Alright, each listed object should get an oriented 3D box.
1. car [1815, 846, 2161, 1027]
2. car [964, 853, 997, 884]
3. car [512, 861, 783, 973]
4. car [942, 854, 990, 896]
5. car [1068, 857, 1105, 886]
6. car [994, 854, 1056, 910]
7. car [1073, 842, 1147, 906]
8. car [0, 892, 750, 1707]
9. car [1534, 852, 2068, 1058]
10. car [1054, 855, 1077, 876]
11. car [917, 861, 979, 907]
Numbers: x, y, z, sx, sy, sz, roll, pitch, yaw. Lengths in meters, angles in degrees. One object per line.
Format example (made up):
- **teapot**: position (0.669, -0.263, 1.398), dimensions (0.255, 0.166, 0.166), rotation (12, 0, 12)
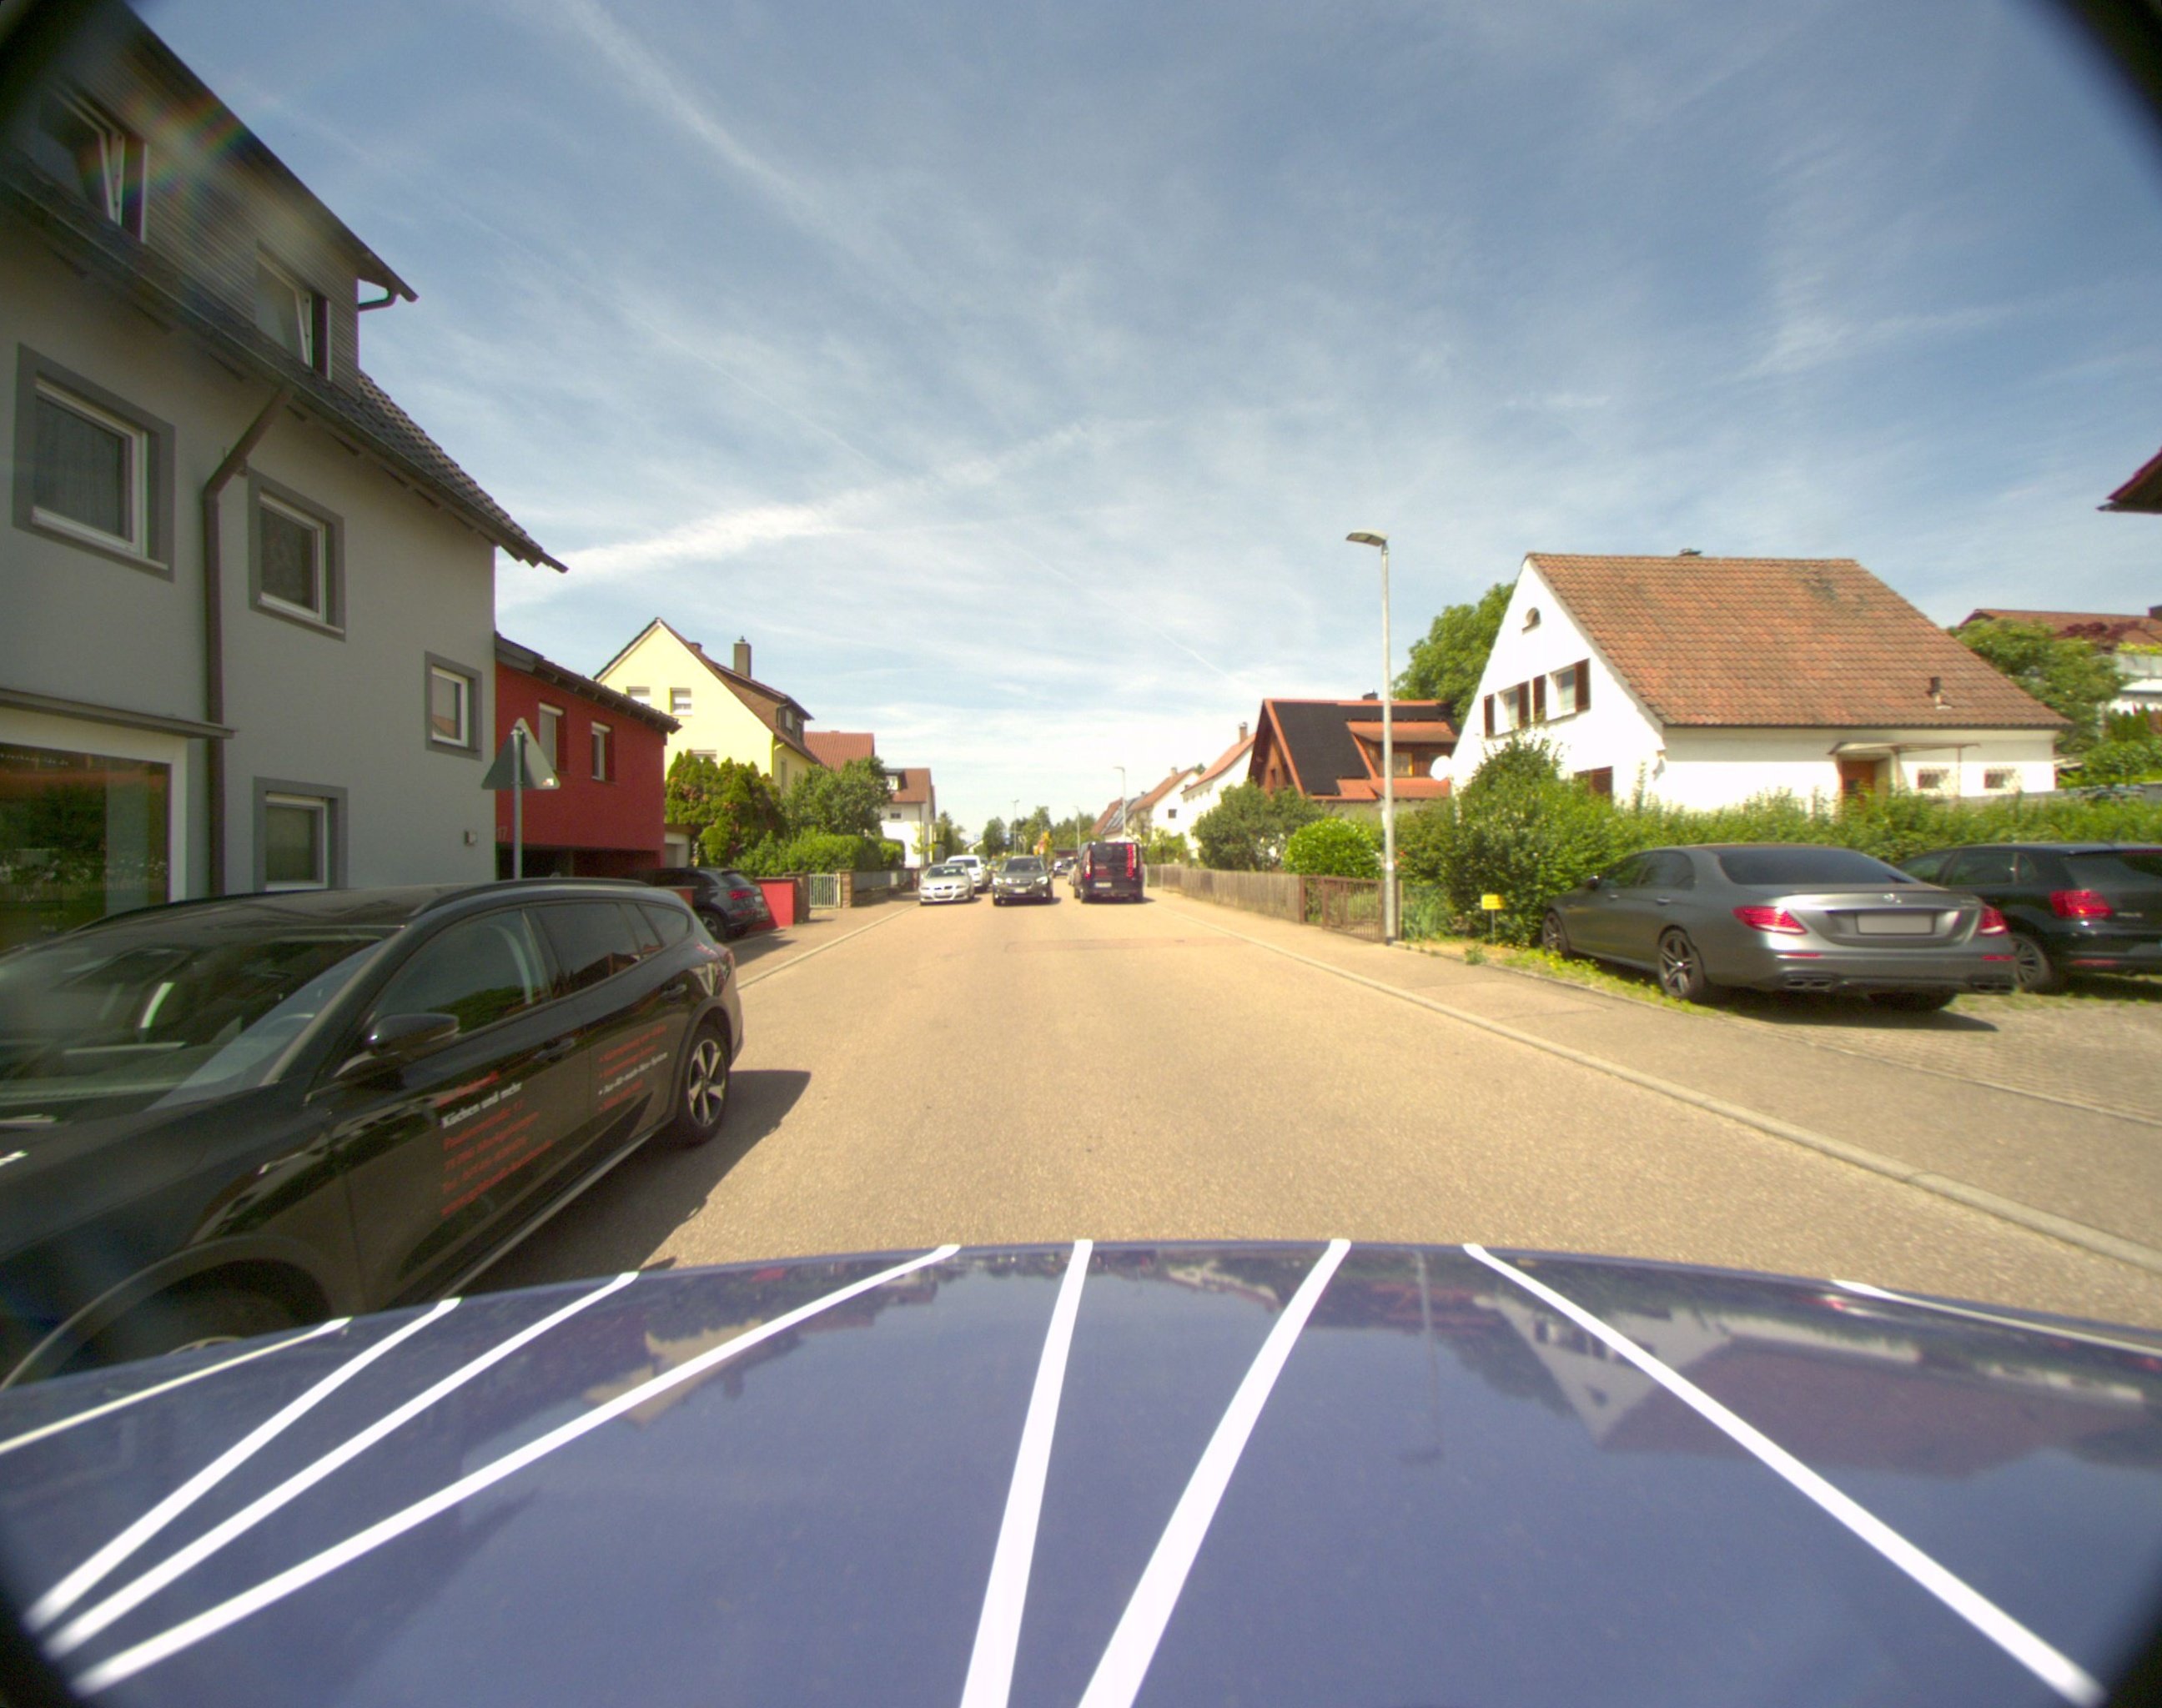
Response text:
- **car**: position (9.949, 0.685, 8.002), dimensions (1.691, 1.492, 3.656), rotation (-1, 0, 16)
- **car**: position (-6.050, 0.830, 46.100), dimensions (1.670, 1.739, 4.054), rotation (-3, 0, -4)
- **car**: position (-8.859, 1.233, 15.887), dimensions (4.380, 1.659, 1.875), rotation (-7, 1, -6)
- **car**: position (-5.075, 0.885, 34.002), dimensions (1.741, 1.652, 4.335), rotation (-3, 0, -4)
- **car**: position (0.236, 0.881, 39.980), dimensions (1.586, 1.434, 3.264), rotation (0, 0, -6)
- **car**: position (-1.910, 0.856, 25.476), dimensions (1.839, 1.638, 4.321), rotation (-2, 0, -5)
- **car**: position (0.886, 0.622, 25.774), dimensions (1.974, 1.940, 4.694), rotation (-1, 0, -4)
- **car**: position (-2.867, 1.037, 2.592), dimensions (1.767, 1.518, 4.404), rotation (-2, 0, -4)
- **car**: position (6.497, 0.725, 7.748), dimensions (1.830, 1.423, 4.567), rotation (-1, 0, 12)
- **car**: position (-1.165, 0.843, 55.496), dimensions (1.602, 1.450, 3.659), rotation (-1, 0, -2)
- **car**: position (-4.750, 1.026, 27.613), dimensions (1.756, 1.412, 4.418), rotation (-3, 0, -5)
